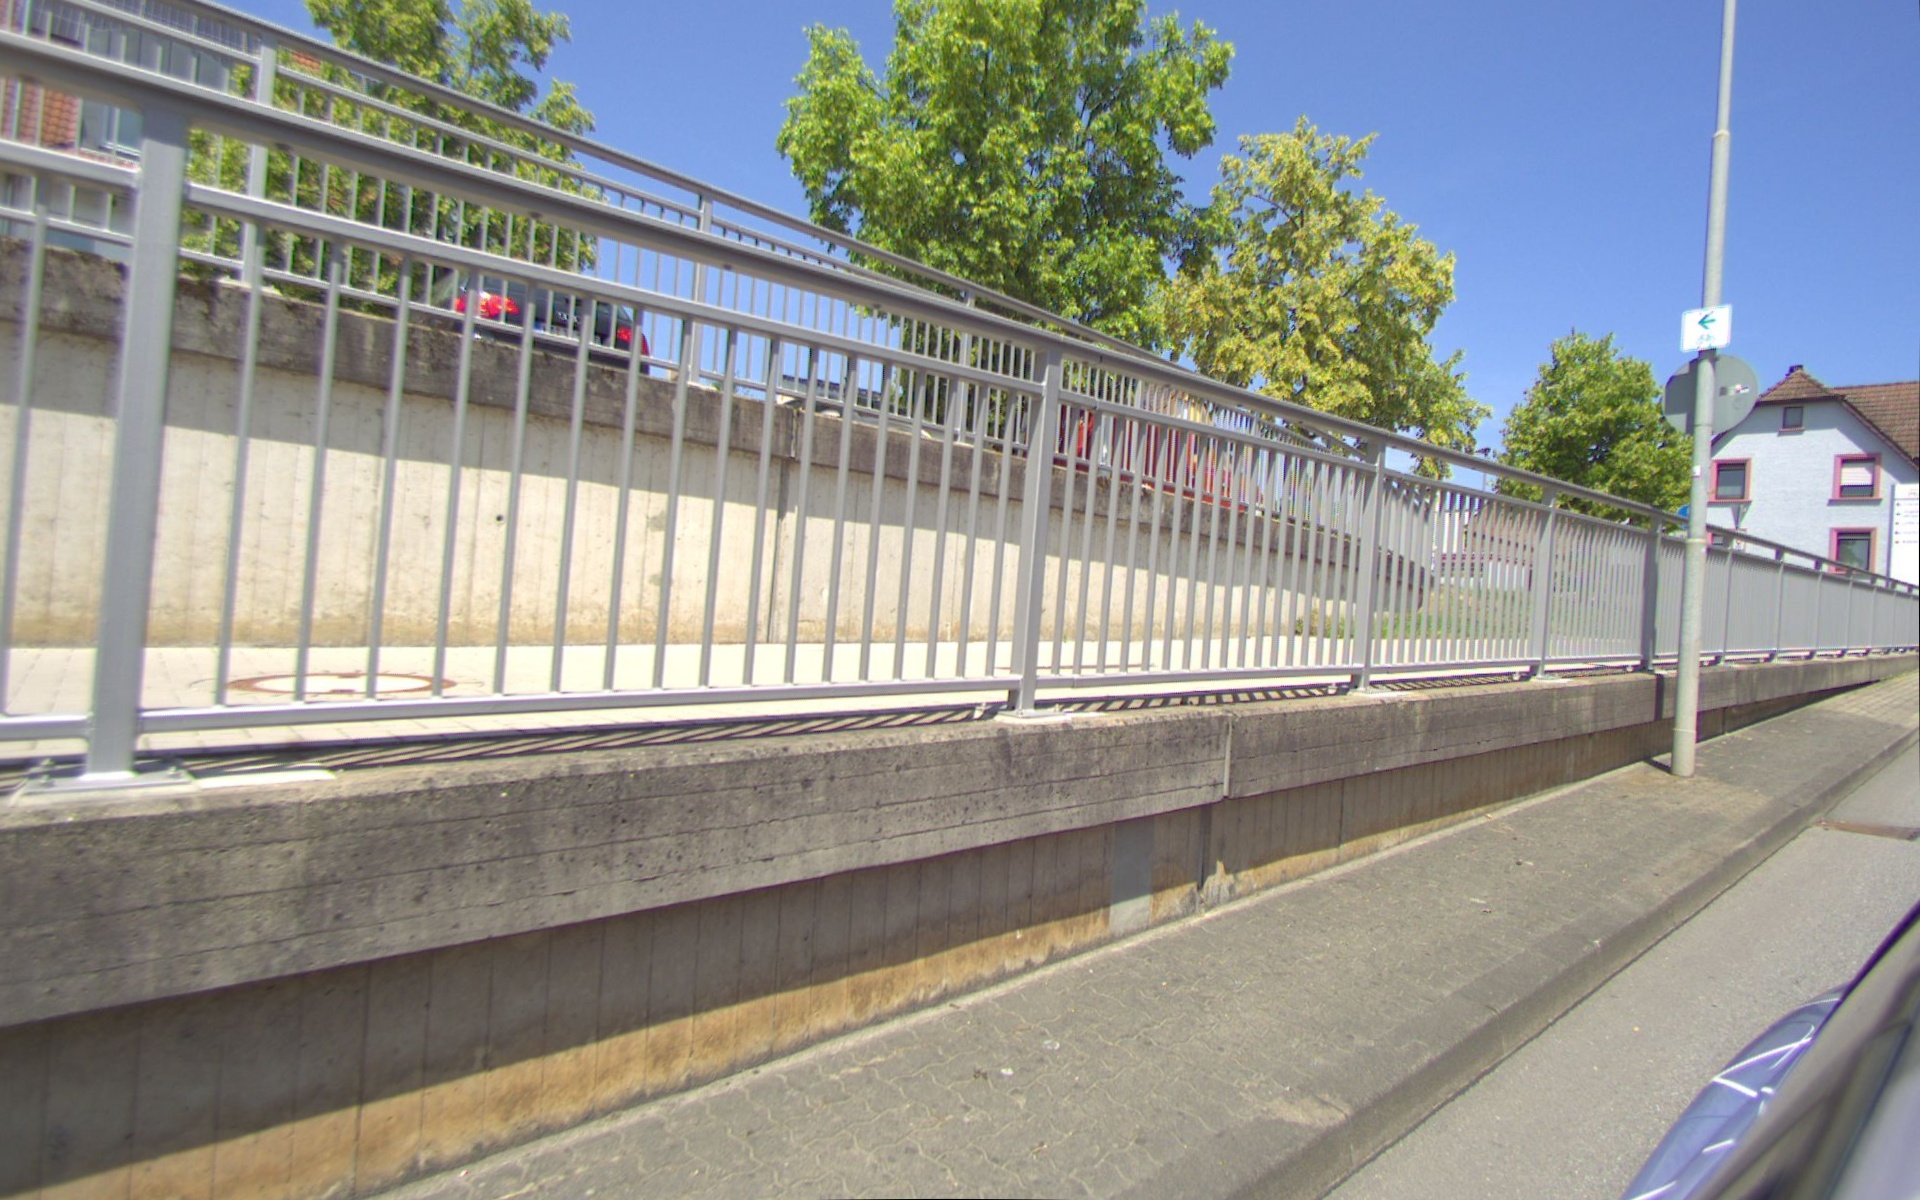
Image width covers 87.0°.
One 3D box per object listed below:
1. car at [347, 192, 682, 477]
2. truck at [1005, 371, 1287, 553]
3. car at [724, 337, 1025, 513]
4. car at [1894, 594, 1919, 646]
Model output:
[{"bbox_3d":[-4.221,-2.103,9.177,1.655,1.517,4.215,4,-1,-39],"label":"car"},{"bbox_3d":[3.443,-2.226,18.014,5.167,2.364,2.136,4,-1,-42],"label":"truck"},{"bbox_3d":[-1.210,-1.995,12.595,1.717,1.517,3.997,4,-1,-39],"label":"car"},{"bbox_3d":[30.056,0.716,29.799,3.672,1.497,1.747,5,2,44],"label":"car"}]
